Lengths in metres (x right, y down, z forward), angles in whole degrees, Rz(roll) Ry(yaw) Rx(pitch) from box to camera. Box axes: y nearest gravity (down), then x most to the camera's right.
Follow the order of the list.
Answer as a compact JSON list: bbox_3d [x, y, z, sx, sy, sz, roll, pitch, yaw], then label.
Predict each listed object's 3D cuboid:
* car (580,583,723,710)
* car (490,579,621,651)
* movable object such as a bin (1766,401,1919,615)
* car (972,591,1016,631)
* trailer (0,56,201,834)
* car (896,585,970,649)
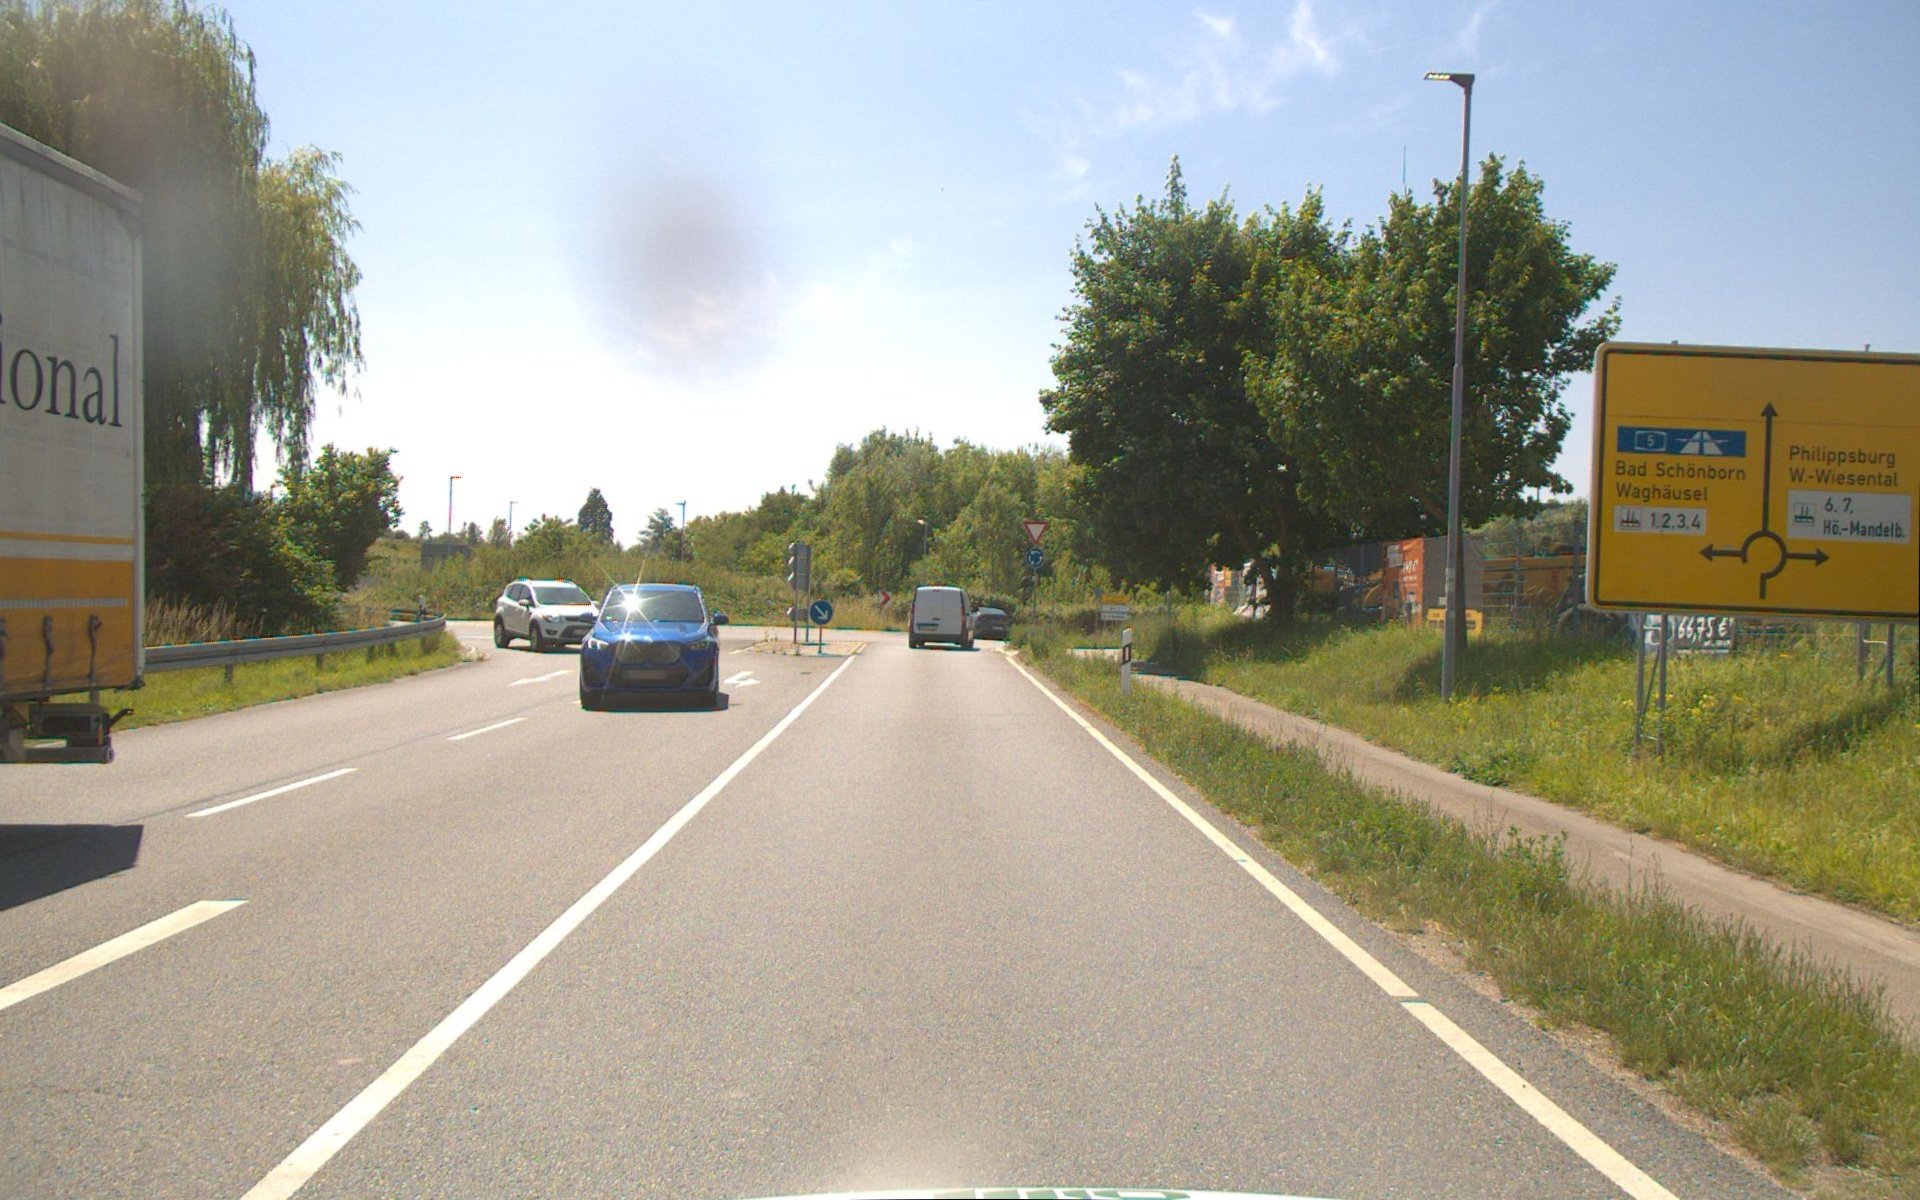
[{"bbox_3d":[-4.380,0.571,23.240,1.815,1.595,3.988,0,1,-12],"label":"car"},{"bbox_3d":[-10.168,0.346,41.417,1.886,1.688,3.950,1,0,-35],"label":"car"},{"bbox_3d":[24.097,-2.274,42.781,4.980,5.143,2.778,3,-2,2],"label":"movable object such as a bin"},{"bbox_3d":[1.484,0.460,72.911,1.768,1.583,4.000,1,2,-1],"label":"car"},{"bbox_3d":[-6.397,-0.783,4.242,2.733,4.126,13.500,3,1,-1],"label":"trailer"},{"bbox_3d":[-0.839,0.469,48.925,1.866,1.763,3.818,2,0,-5],"label":"car"}]
